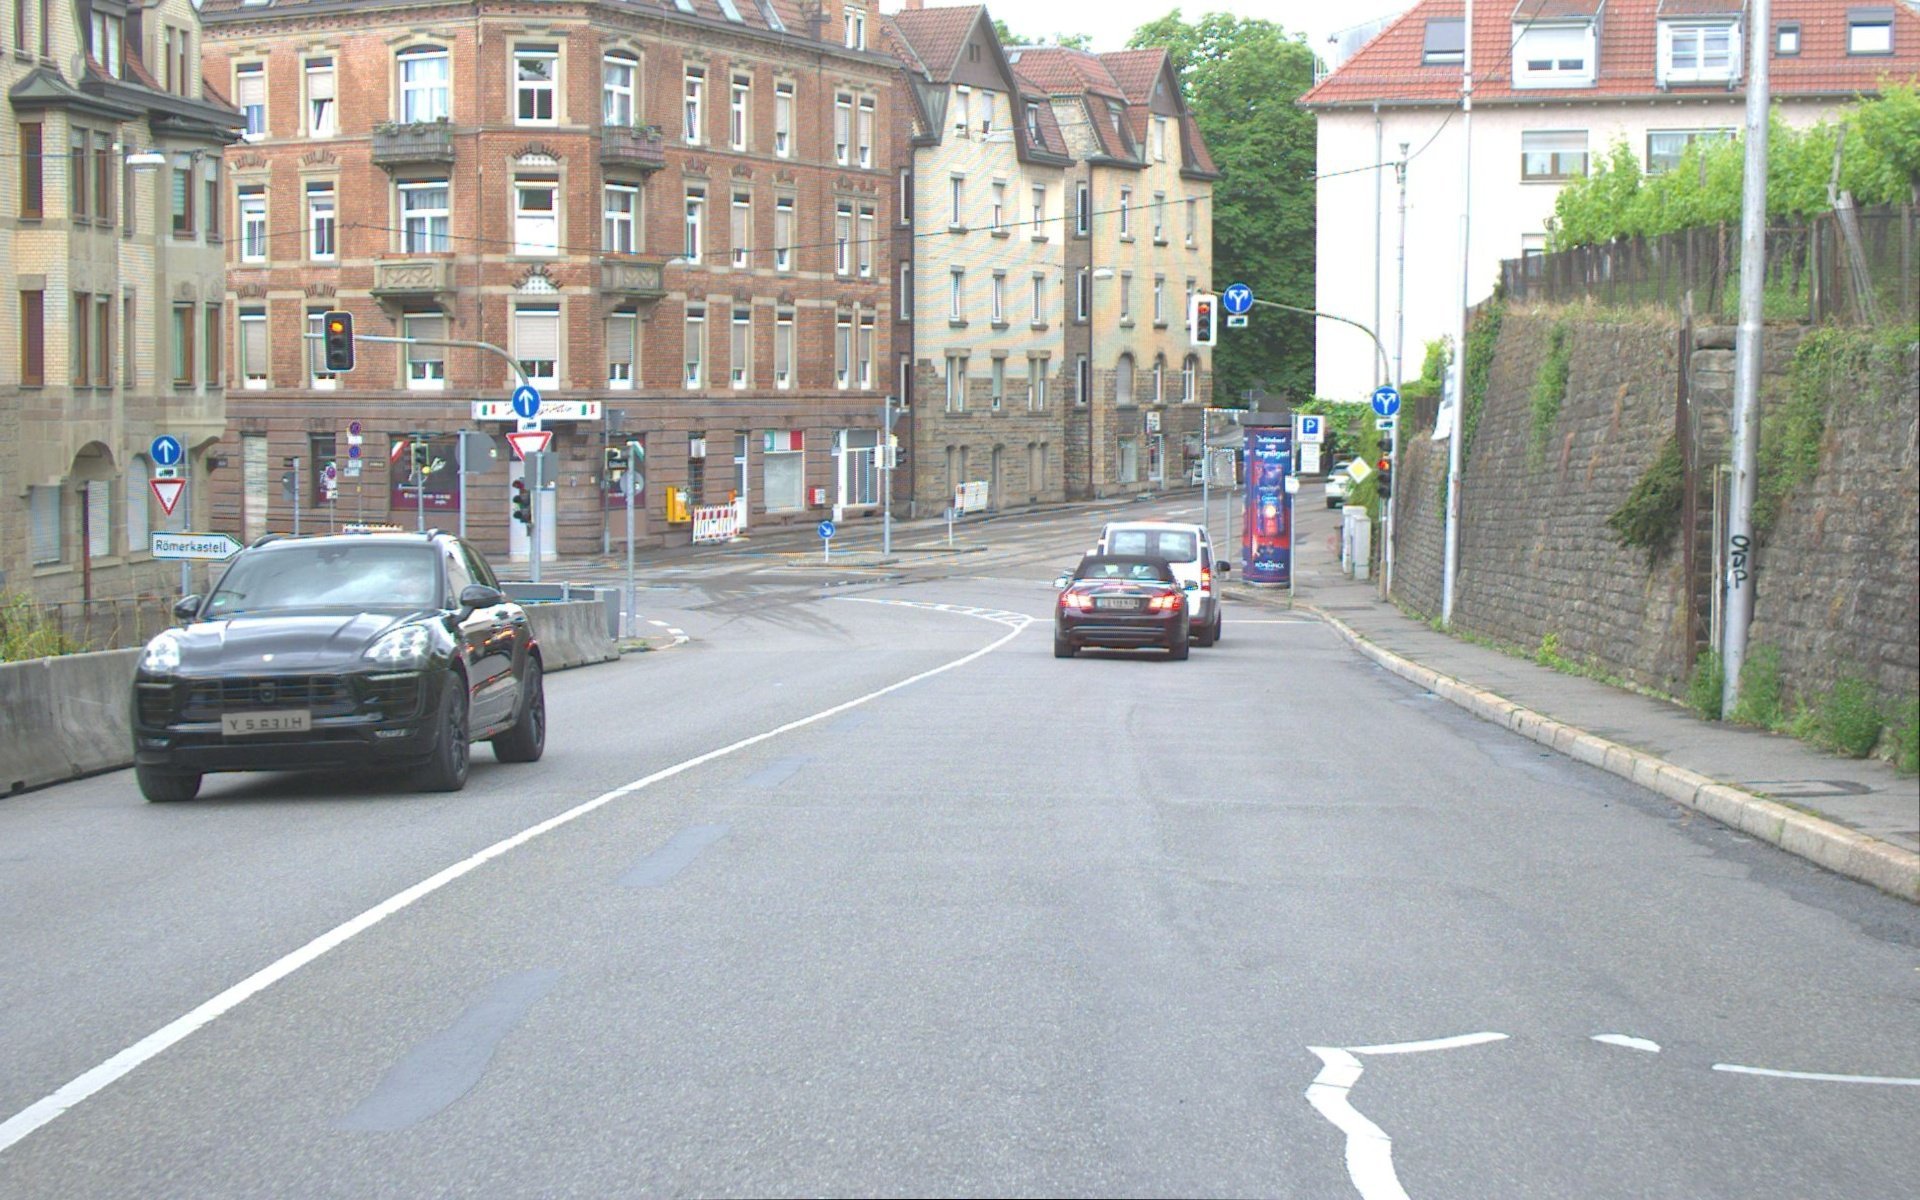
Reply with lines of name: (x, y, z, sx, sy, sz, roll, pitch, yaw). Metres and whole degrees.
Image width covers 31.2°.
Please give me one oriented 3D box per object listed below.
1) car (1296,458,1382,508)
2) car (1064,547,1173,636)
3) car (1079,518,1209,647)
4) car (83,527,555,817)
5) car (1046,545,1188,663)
car: (13.601, -4.200, 123.341, 1.844, 1.696, 3.995, 2, 3, 25)
car: (2.831, -0.172, 60.871, 1.841, 1.436, 4.000, 2, 2, 3)
car: (2.891, -0.315, 53.721, 1.909, 1.877, 4.000, 2, 2, 3)
car: (-3.948, 0.372, 21.966, 1.982, 1.569, 4.375, -2, 2, 2)
car: (2.171, 0.017, 47.031, 1.816, 1.425, 4.000, 2, 2, 3)
